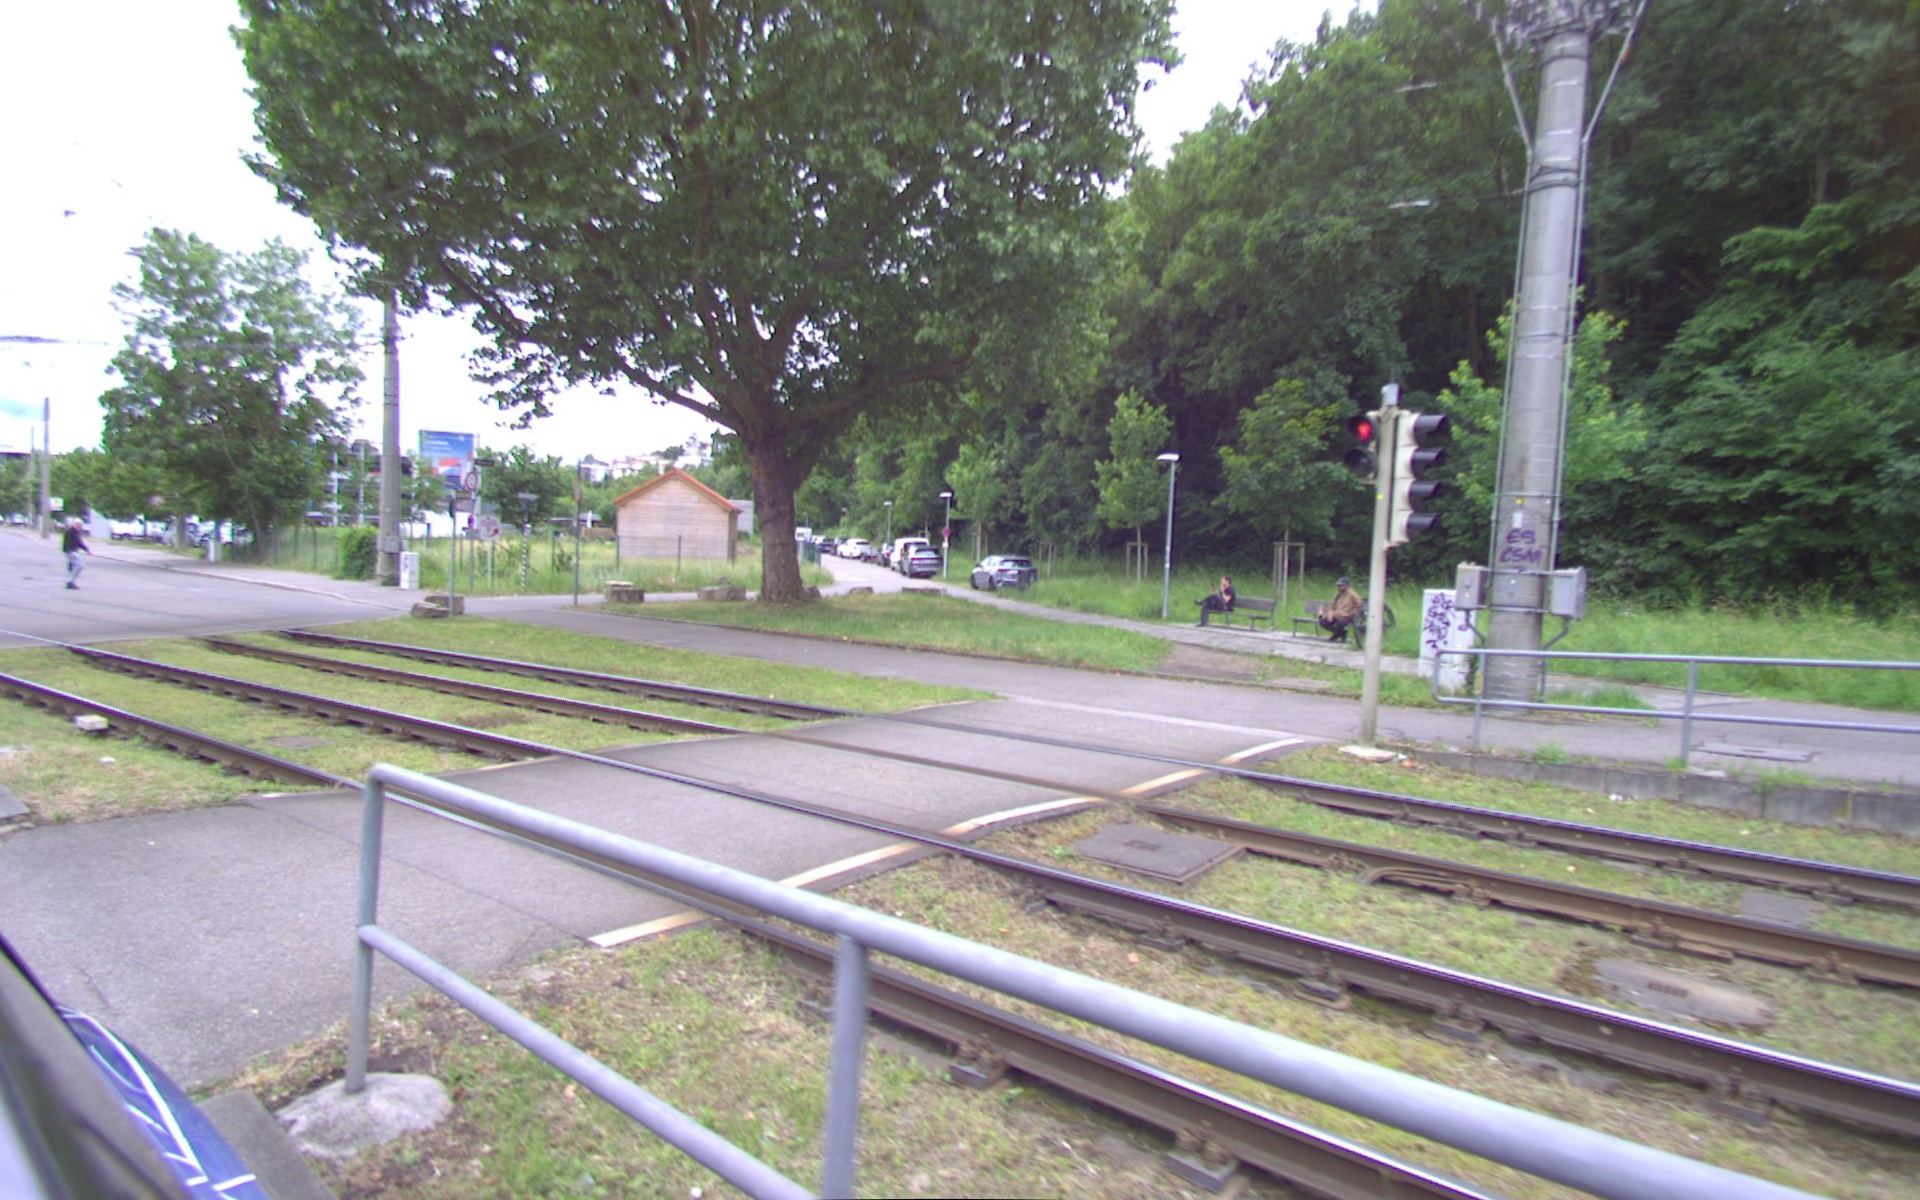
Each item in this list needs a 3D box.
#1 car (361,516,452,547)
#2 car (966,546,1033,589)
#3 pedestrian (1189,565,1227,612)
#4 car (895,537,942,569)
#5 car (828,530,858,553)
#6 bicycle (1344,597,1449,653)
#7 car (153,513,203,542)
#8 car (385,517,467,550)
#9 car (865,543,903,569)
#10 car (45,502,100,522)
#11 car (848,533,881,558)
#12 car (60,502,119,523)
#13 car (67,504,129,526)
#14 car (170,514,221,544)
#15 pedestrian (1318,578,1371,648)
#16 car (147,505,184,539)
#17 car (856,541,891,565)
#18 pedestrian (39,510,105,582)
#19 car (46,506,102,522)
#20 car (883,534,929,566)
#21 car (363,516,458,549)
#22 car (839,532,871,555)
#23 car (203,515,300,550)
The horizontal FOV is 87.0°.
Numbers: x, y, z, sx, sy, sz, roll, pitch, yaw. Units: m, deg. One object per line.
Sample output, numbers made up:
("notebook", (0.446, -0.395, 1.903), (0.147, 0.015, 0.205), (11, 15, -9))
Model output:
("car", (-41.816, -5.186, 76.665), (5.751, 2.283, 2.061), (-1, 5, -19))
("car", (1.473, -1.288, 39.202), (1.672, 1.434, 3.514), (0, 5, -14))
("pedestrian", (5.606, -0.273, 22.881), (0.523, 0.996, 0.622), (-1, 5, -25))
("car", (-2.141, -2.376, 50.909), (1.672, 1.434, 3.514), (0, 5, -14))
("car", (-9.273, -4.642, 80.013), (1.727, 1.624, 3.694), (-1, 5, -17))
("bicycle", (7.728, 0.433, 17.933), (1.716, 0.891, 0.624), (-1, 5, -21))
("car", (-61.542, -5.749, 79.614), (4.775, 2.131, 2.114), (5, 6, 41))
("car", (-42.212, -5.246, 80.164), (5.566, 2.478, 1.987), (-1, 5, -22))
("car", (-4.696, -2.730, 62.401), (1.728, 1.387, 3.693), (0, 5, -14))
("car", (-104.637, -10.338, 119.304), (2.108, 2.224, 4.577), (5, 6, 41))
("car", (-6.787, -3.858, 71.564), (1.728, 1.624, 3.693), (0, 5, -14))
("car", (-94.304, -9.501, 109.696), (2.108, 2.224, 4.577), (5, 6, 41))
("car", (-90.424, -8.874, 106.180), (2.108, 2.224, 4.577), (5, 6, 41))
("car", (-56.954, -5.319, 75.327), (4.776, 2.131, 2.113), (5, 7, 42))
("pedestrian", (7.222, 0.235, 19.013), (0.570, 1.244, 0.676), (-1, 5, -27))
("car", (-75.421, -7.434, 96.006), (2.286, 3.033, 6.169), (-3, 7, -41))
("car", (-5.819, -3.152, 67.678), (1.728, 1.387, 3.693), (0, 5, -14))
("pedestrian", (-22.612, -1.387, 25.783), (0.813, 1.773, 1.105), (5, 6, 41))
("car", (-102.941, -9.976, 117.628), (2.108, 1.853, 4.577), (5, 7, 41))
("car", (-3.031, -2.785, 55.979), (1.878, 1.624, 3.693), (0, 5, -14))
("car", (-39.812, -4.872, 73.463), (5.762, 2.283, 2.061), (-1, 5, -19))
("car", (-7.882, -4.240, 75.707), (1.727, 1.624, 3.694), (-1, 5, -17))
("car", (-48.632, -4.667, 69.541), (5.194, 2.283, 2.002), (-4, 7, -44))
